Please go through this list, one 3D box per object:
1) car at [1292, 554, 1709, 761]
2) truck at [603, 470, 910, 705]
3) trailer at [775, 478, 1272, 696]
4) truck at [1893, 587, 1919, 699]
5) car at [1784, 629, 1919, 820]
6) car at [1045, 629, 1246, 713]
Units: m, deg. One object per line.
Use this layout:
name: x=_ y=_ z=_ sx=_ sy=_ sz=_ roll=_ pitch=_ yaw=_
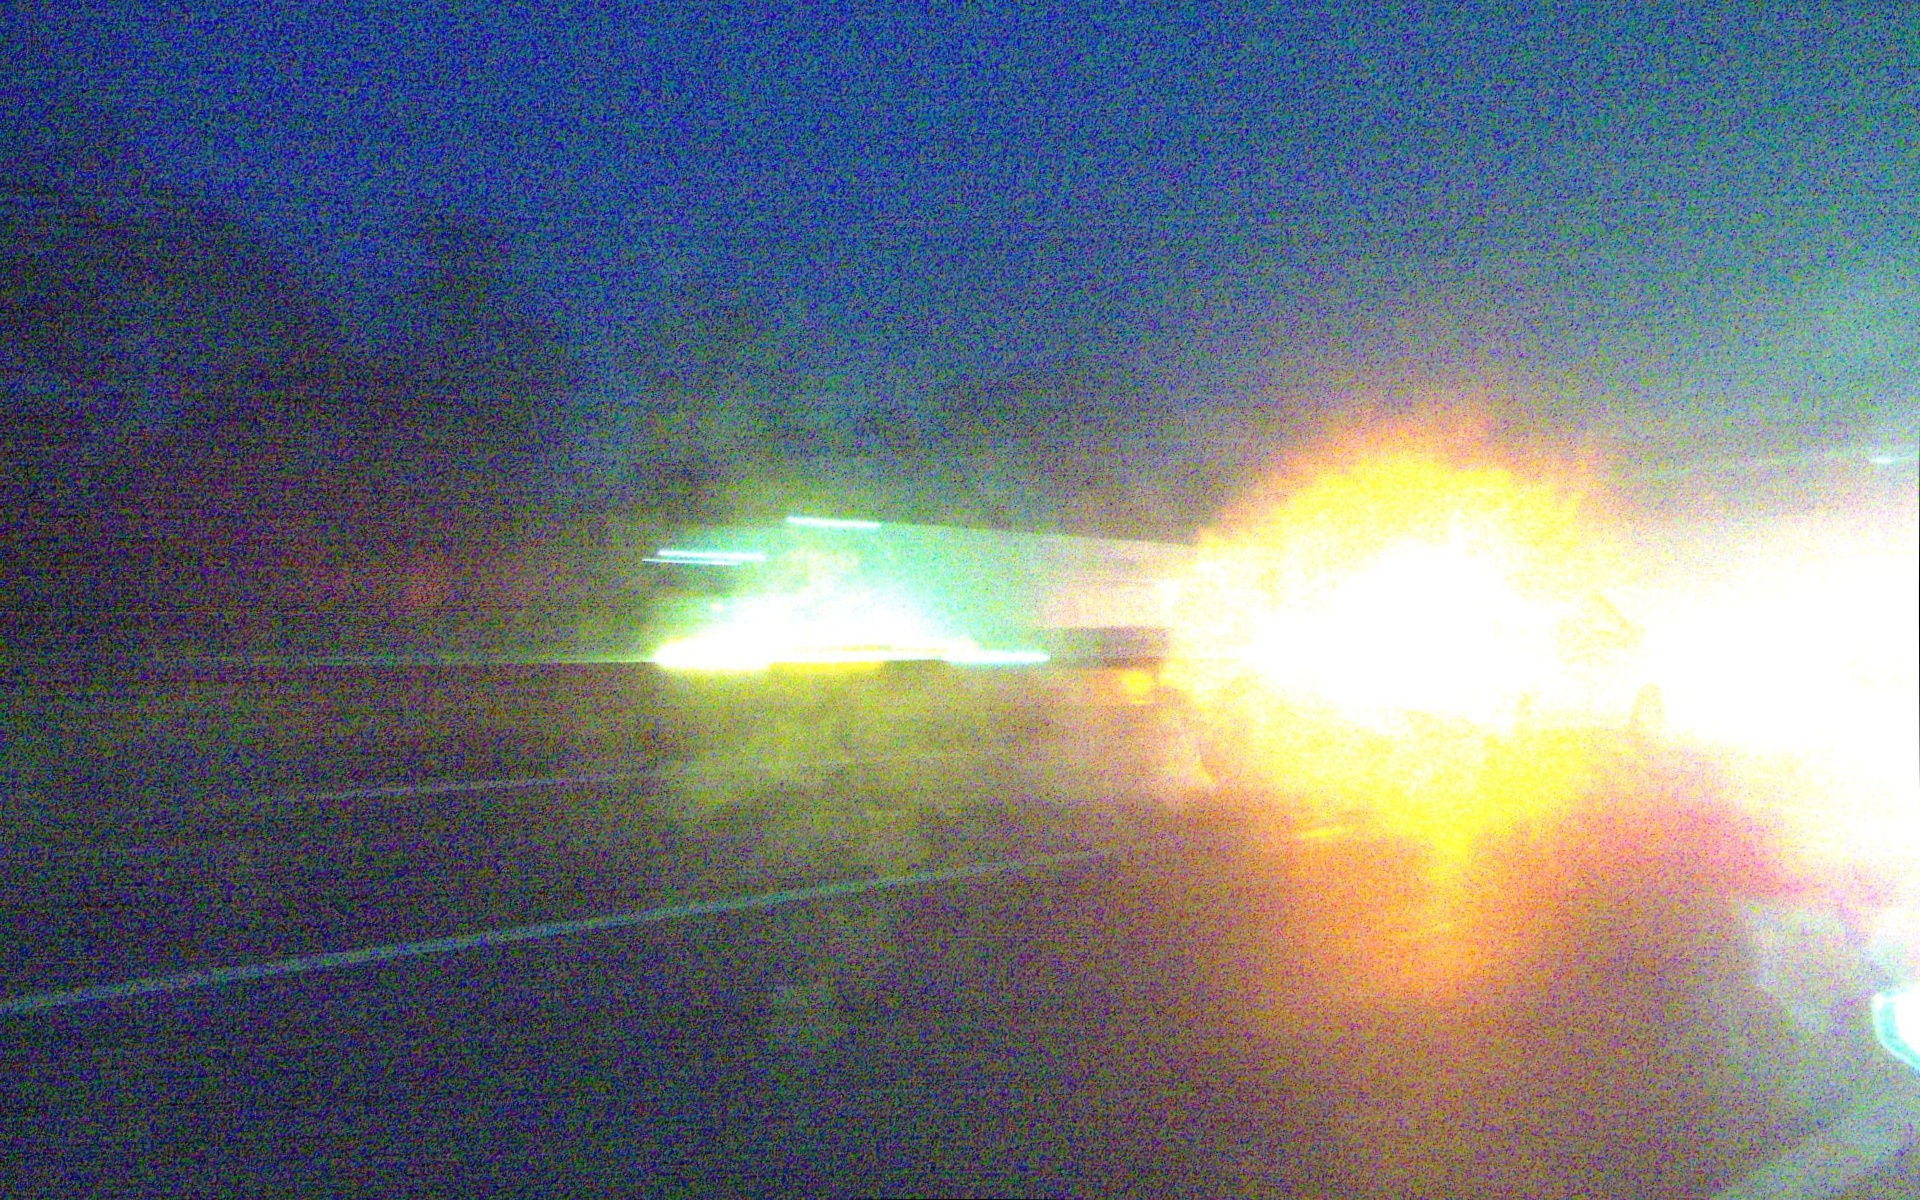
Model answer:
car: x=6.954 y=0.666 z=12.714 sx=5.564 sy=2.132 sz=2.112 roll=2 pitch=-1 yaw=-31
truck: x=-4.969 y=-0.181 z=24.553 sx=6.403 sy=4.974 sz=3.770 roll=2 pitch=-1 yaw=-31
trailer: x=2.354 y=-0.091 z=28.841 sx=14.631 sy=5.094 sz=3.770 roll=2 pitch=-1 yaw=-31
truck: x=22.153 y=0.951 z=20.810 sx=5.797 sy=2.230 sz=2.840 roll=2 pitch=-1 yaw=-34
car: x=9.135 y=1.009 z=9.022 sx=4.204 sy=1.450 sz=1.645 roll=1 pitch=-1 yaw=-35
car: x=3.844 y=1.423 z=20.625 sx=3.954 sy=1.533 sz=1.648 roll=2 pitch=-1 yaw=-31
